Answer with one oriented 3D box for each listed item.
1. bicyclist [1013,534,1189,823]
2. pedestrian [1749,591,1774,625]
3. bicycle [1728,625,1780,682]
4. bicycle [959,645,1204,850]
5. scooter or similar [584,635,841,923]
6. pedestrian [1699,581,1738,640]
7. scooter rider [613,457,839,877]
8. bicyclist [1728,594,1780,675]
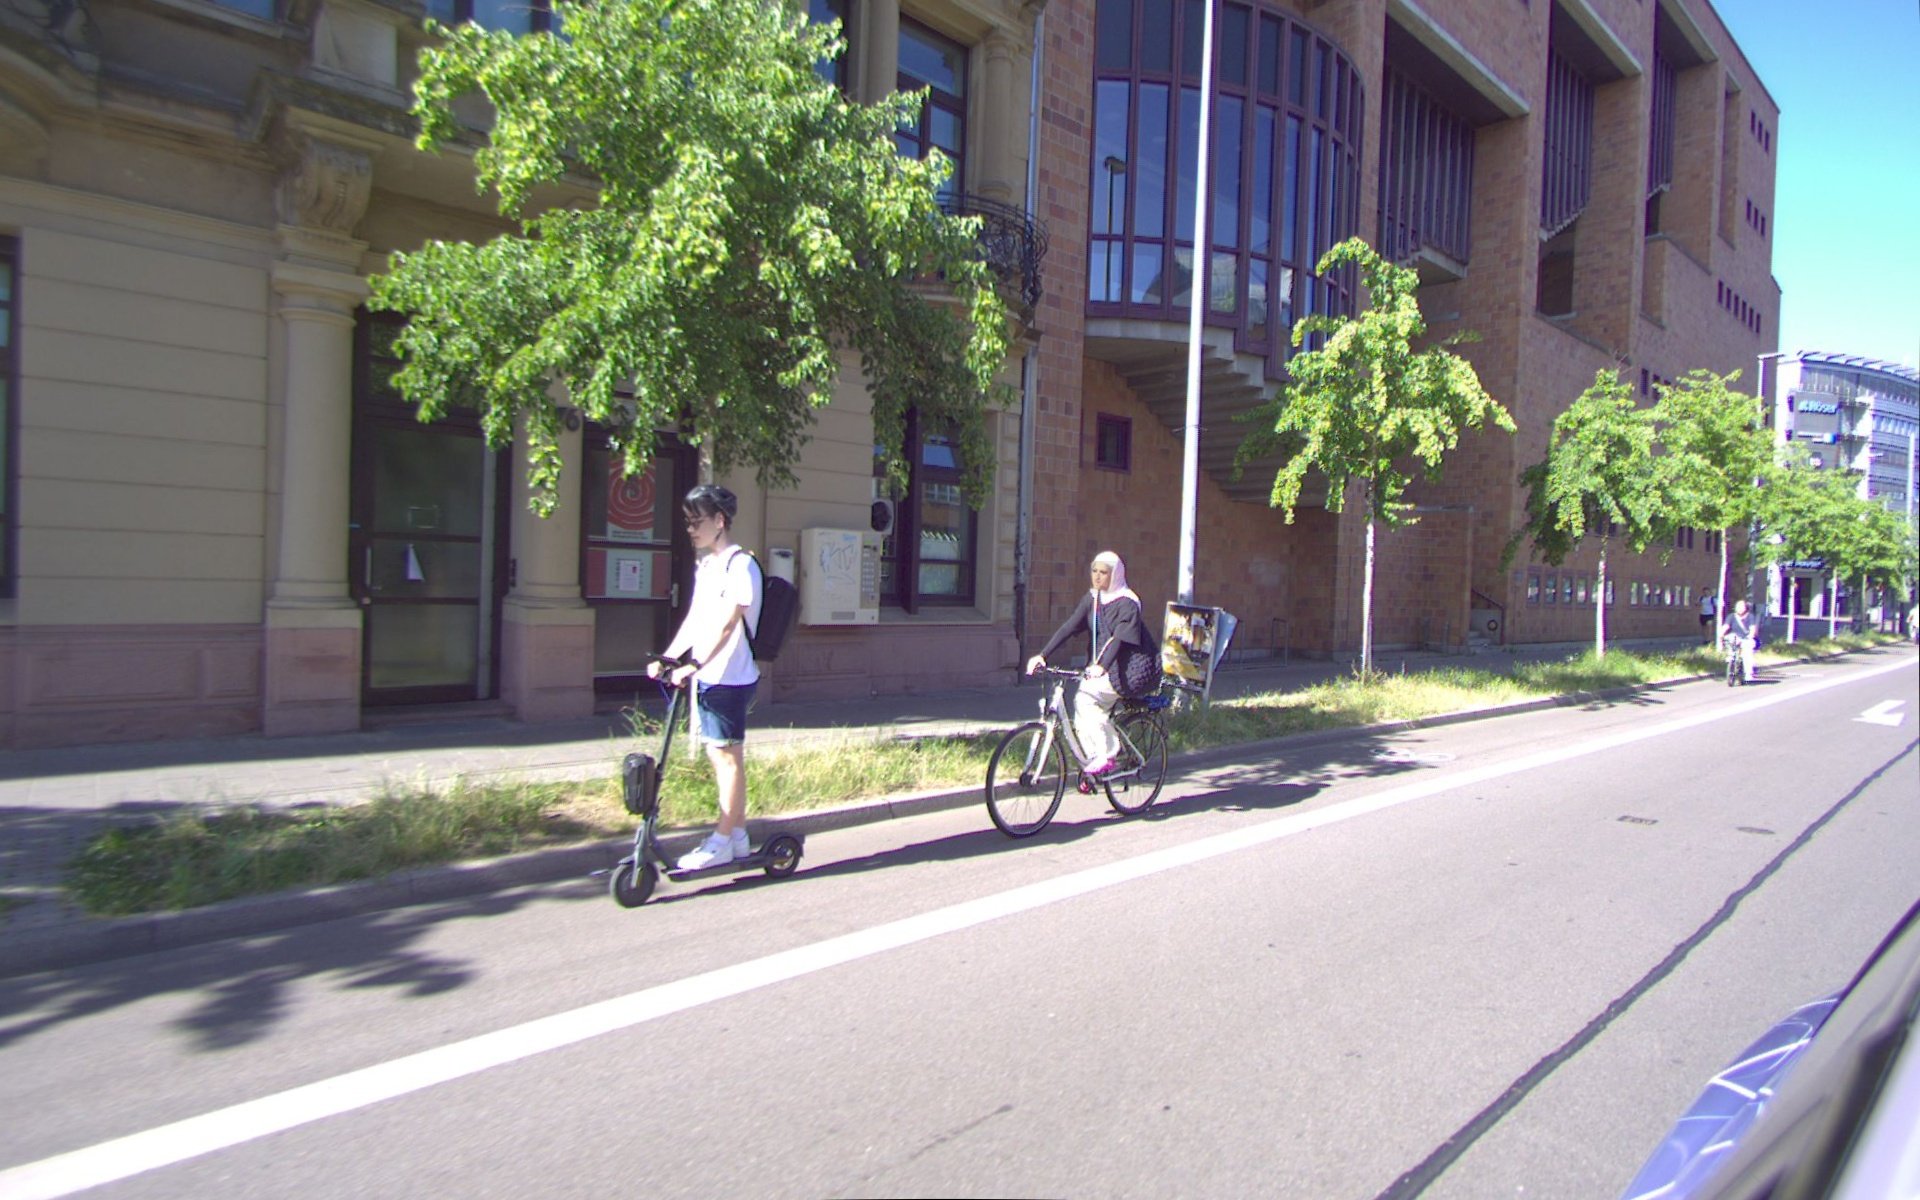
[{"bbox_3d":[0.926,0.471,6.657,0.853,1.733,0.780,1,-1,-42],"label":"bicyclist"},{"bbox_3d":[39.657,0.407,50.081,0.960,1.639,0.789,1,2,-44],"label":"pedestrian"},{"bbox_3d":[15.553,1.034,19.817,1.481,1.040,0.558,1,0,-42],"label":"bicycle"},{"bbox_3d":[0.837,0.875,6.564,1.761,1.106,0.558,1,0,-42],"label":"bicycle"},{"bbox_3d":[-1.216,0.813,5.070,1.150,1.242,0.491,1,-1,-42],"label":"scooter or similar"},{"bbox_3d":[25.114,0.335,33.502,1.087,1.906,0.789,1,2,-41],"label":"pedestrian"},{"bbox_3d":[-1.170,0.300,5.090,0.885,1.884,0.667,1,-1,-42],"label":"scooter rider"},{"bbox_3d":[15.575,0.656,19.855,0.893,1.557,0.658,1,-1,-42],"label":"bicyclist"}]
